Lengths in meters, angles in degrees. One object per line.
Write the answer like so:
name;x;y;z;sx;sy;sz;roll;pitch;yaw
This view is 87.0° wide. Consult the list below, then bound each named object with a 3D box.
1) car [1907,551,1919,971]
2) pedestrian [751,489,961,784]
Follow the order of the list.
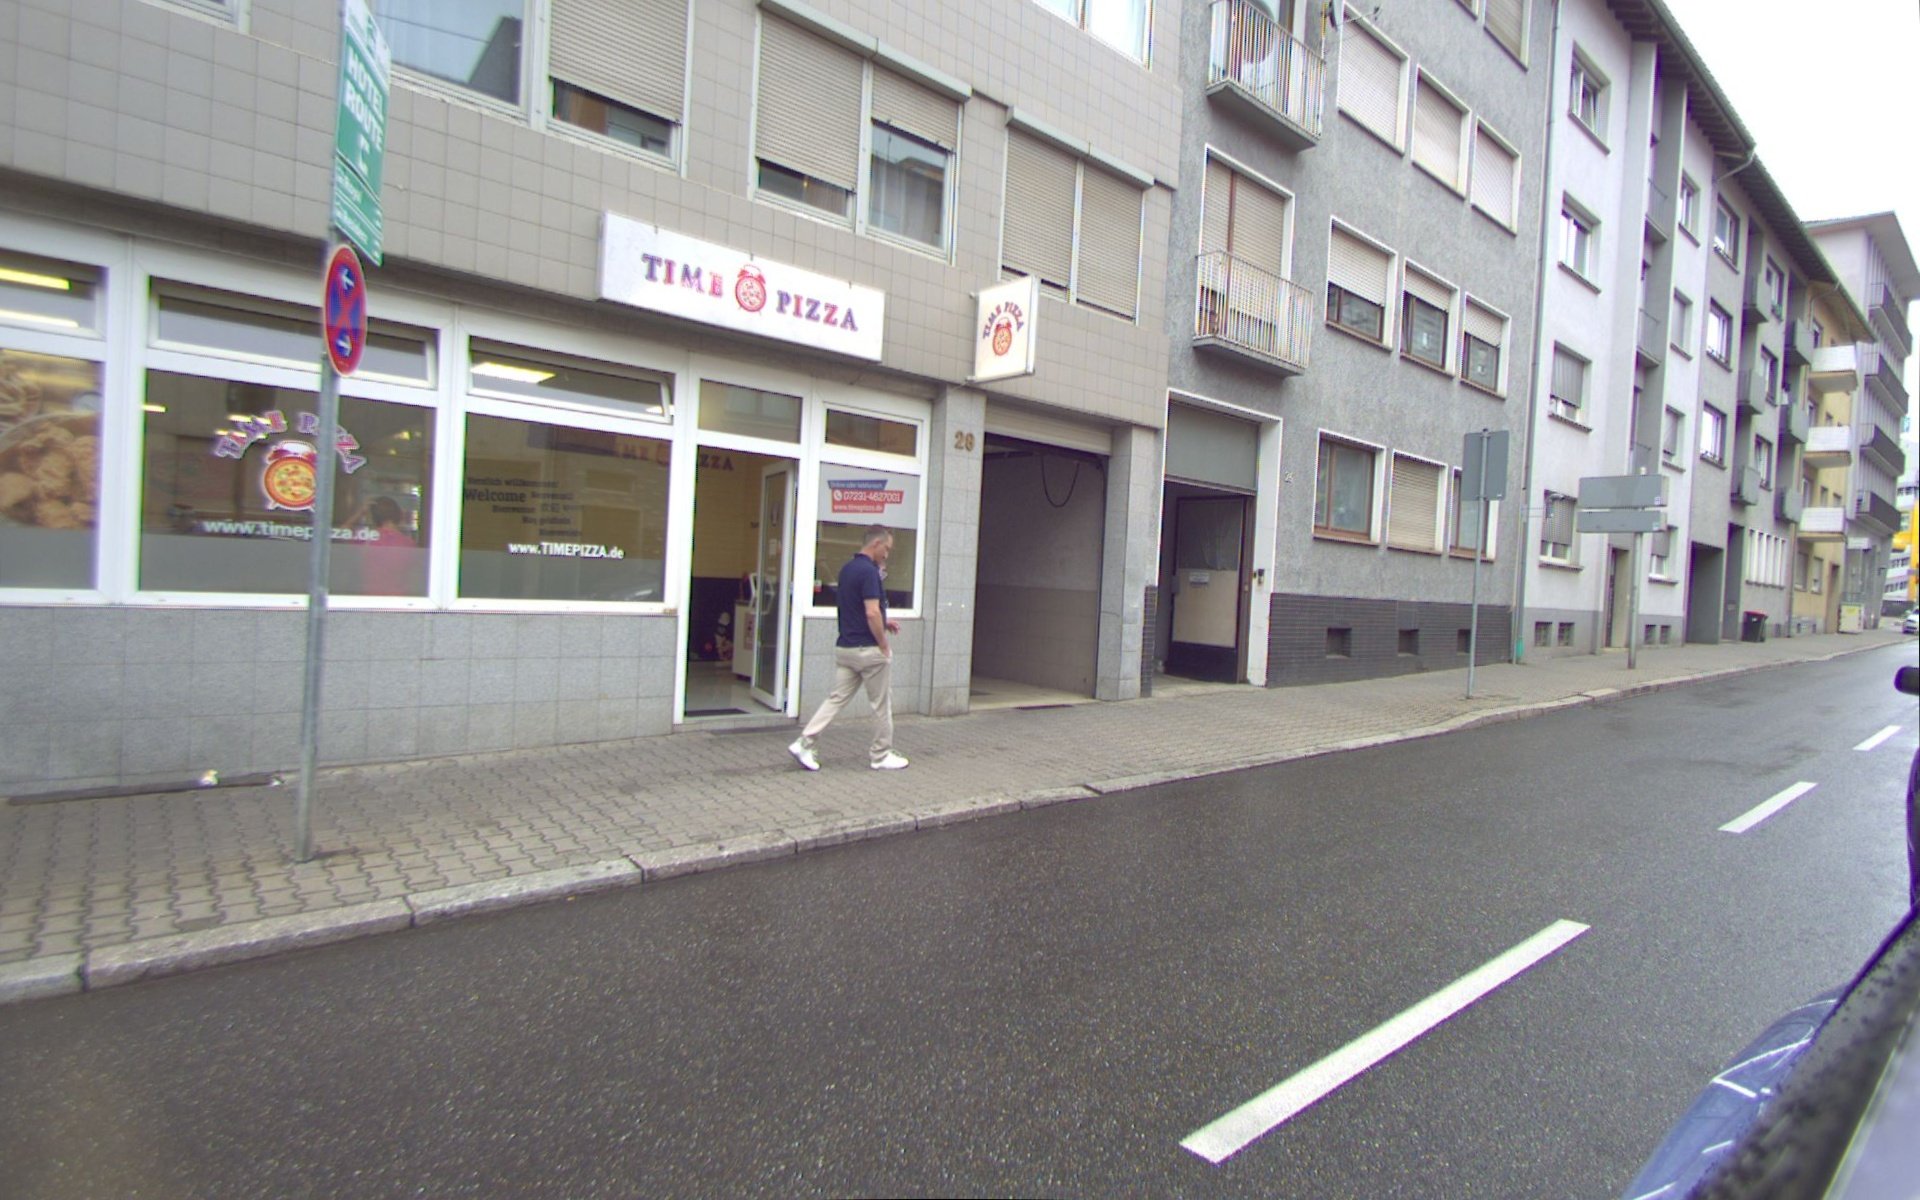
car;6.075;0.652;4.940;4.144;1.743;1.697;-1;0;-41
pedestrian;-0.748;0.207;7.228;1.100;1.887;0.871;0;7;-41
